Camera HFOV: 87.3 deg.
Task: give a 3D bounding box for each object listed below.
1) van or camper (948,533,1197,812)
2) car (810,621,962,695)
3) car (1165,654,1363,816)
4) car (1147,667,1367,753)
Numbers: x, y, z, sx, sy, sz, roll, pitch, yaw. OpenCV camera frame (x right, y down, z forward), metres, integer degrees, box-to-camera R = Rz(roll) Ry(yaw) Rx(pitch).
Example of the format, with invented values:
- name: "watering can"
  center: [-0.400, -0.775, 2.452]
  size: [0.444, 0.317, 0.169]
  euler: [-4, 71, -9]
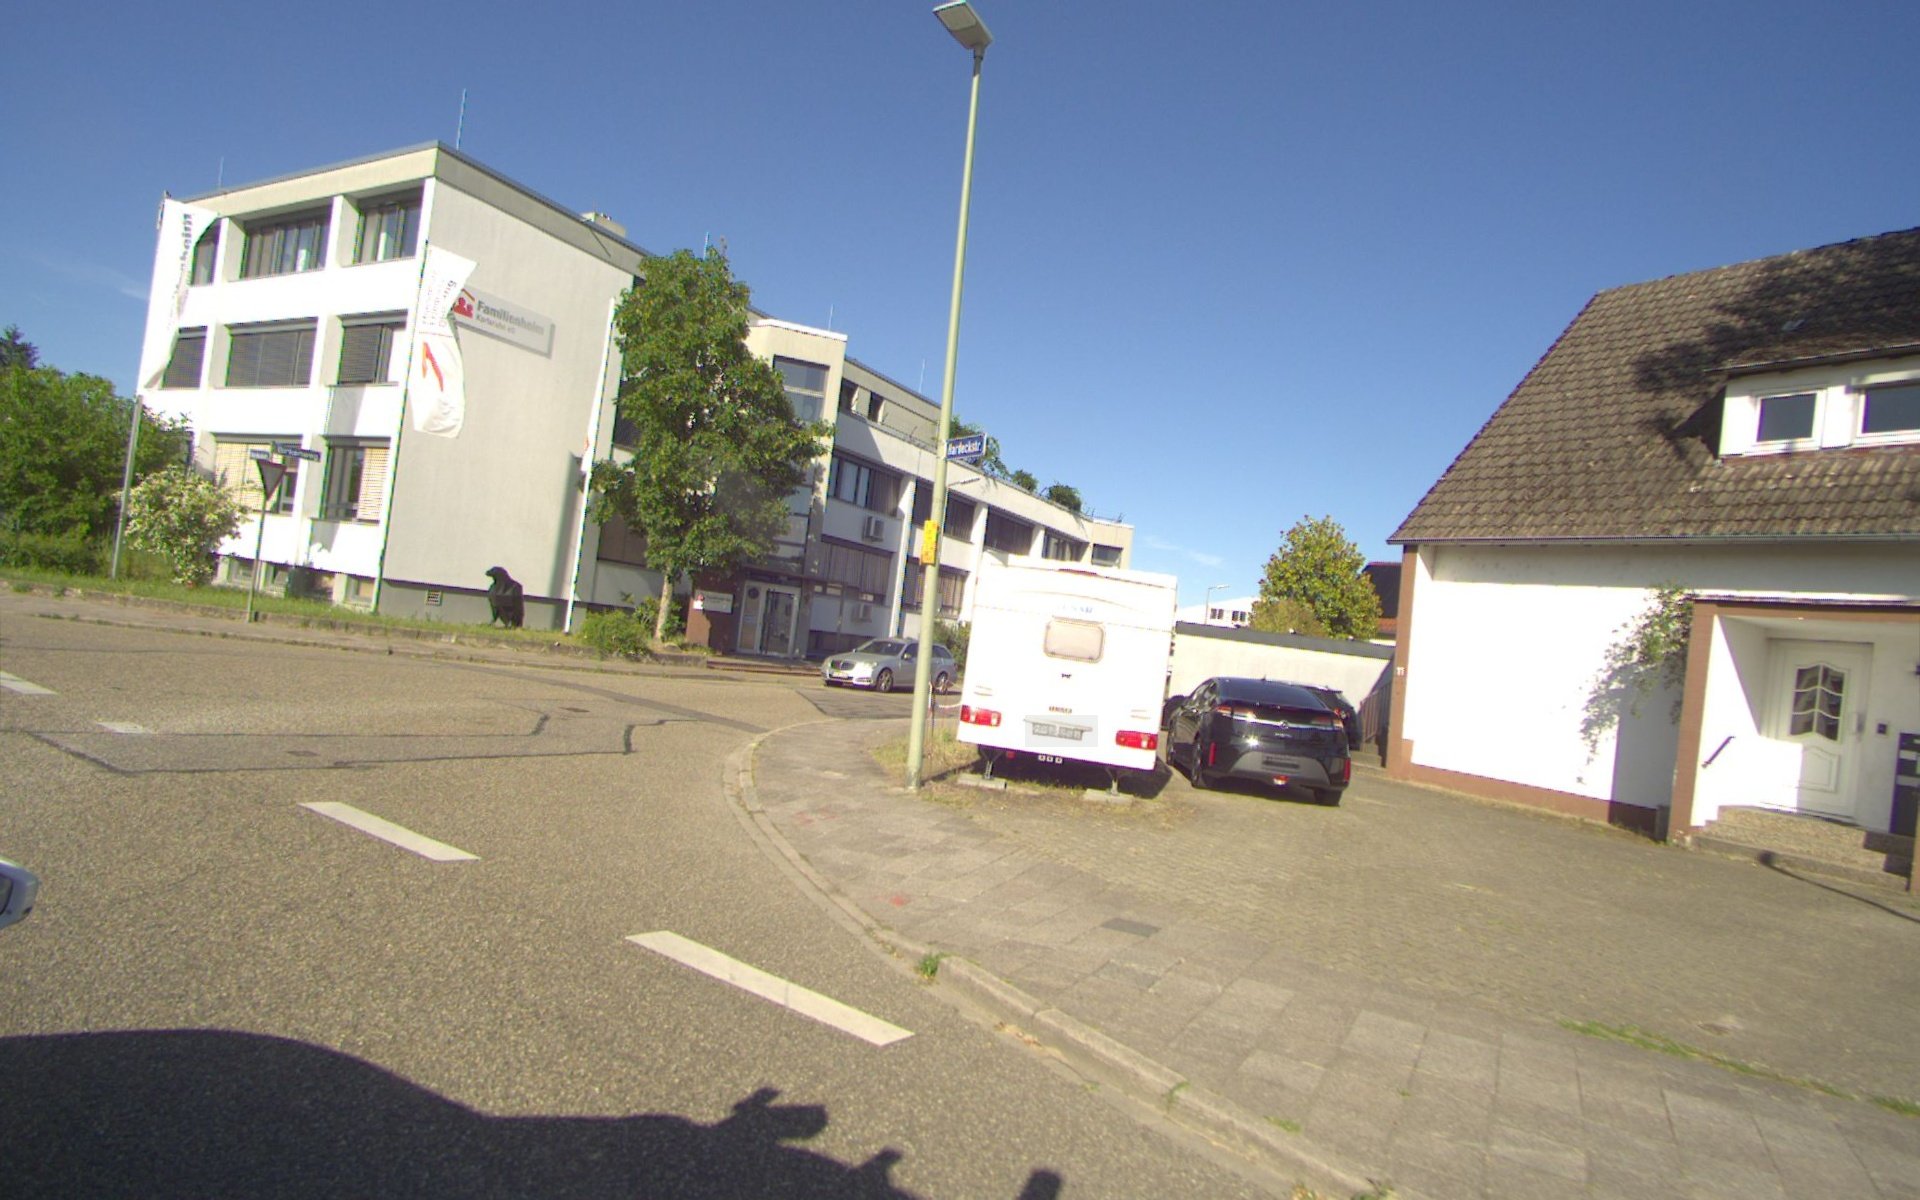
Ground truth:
- name: "van or camper"
  center: [1.462, 0.871, 13.205]
  size: [2.246, 2.570, 5.839]
  euler: [7, -2, 7]
- name: "car"
  center: [-1.932, 1.663, 27.825]
  size: [1.770, 1.636, 4.520]
  euler: [7, -2, 31]
- name: "car"
  center: [3.943, 1.675, 13.738]
  size: [1.776, 1.636, 4.005]
  euler: [7, -2, 7]
- name: "car"
  center: [6.885, 2.520, 23.507]
  size: [4.557, 1.454, 1.718]
  euler: [3, -3, 32]
